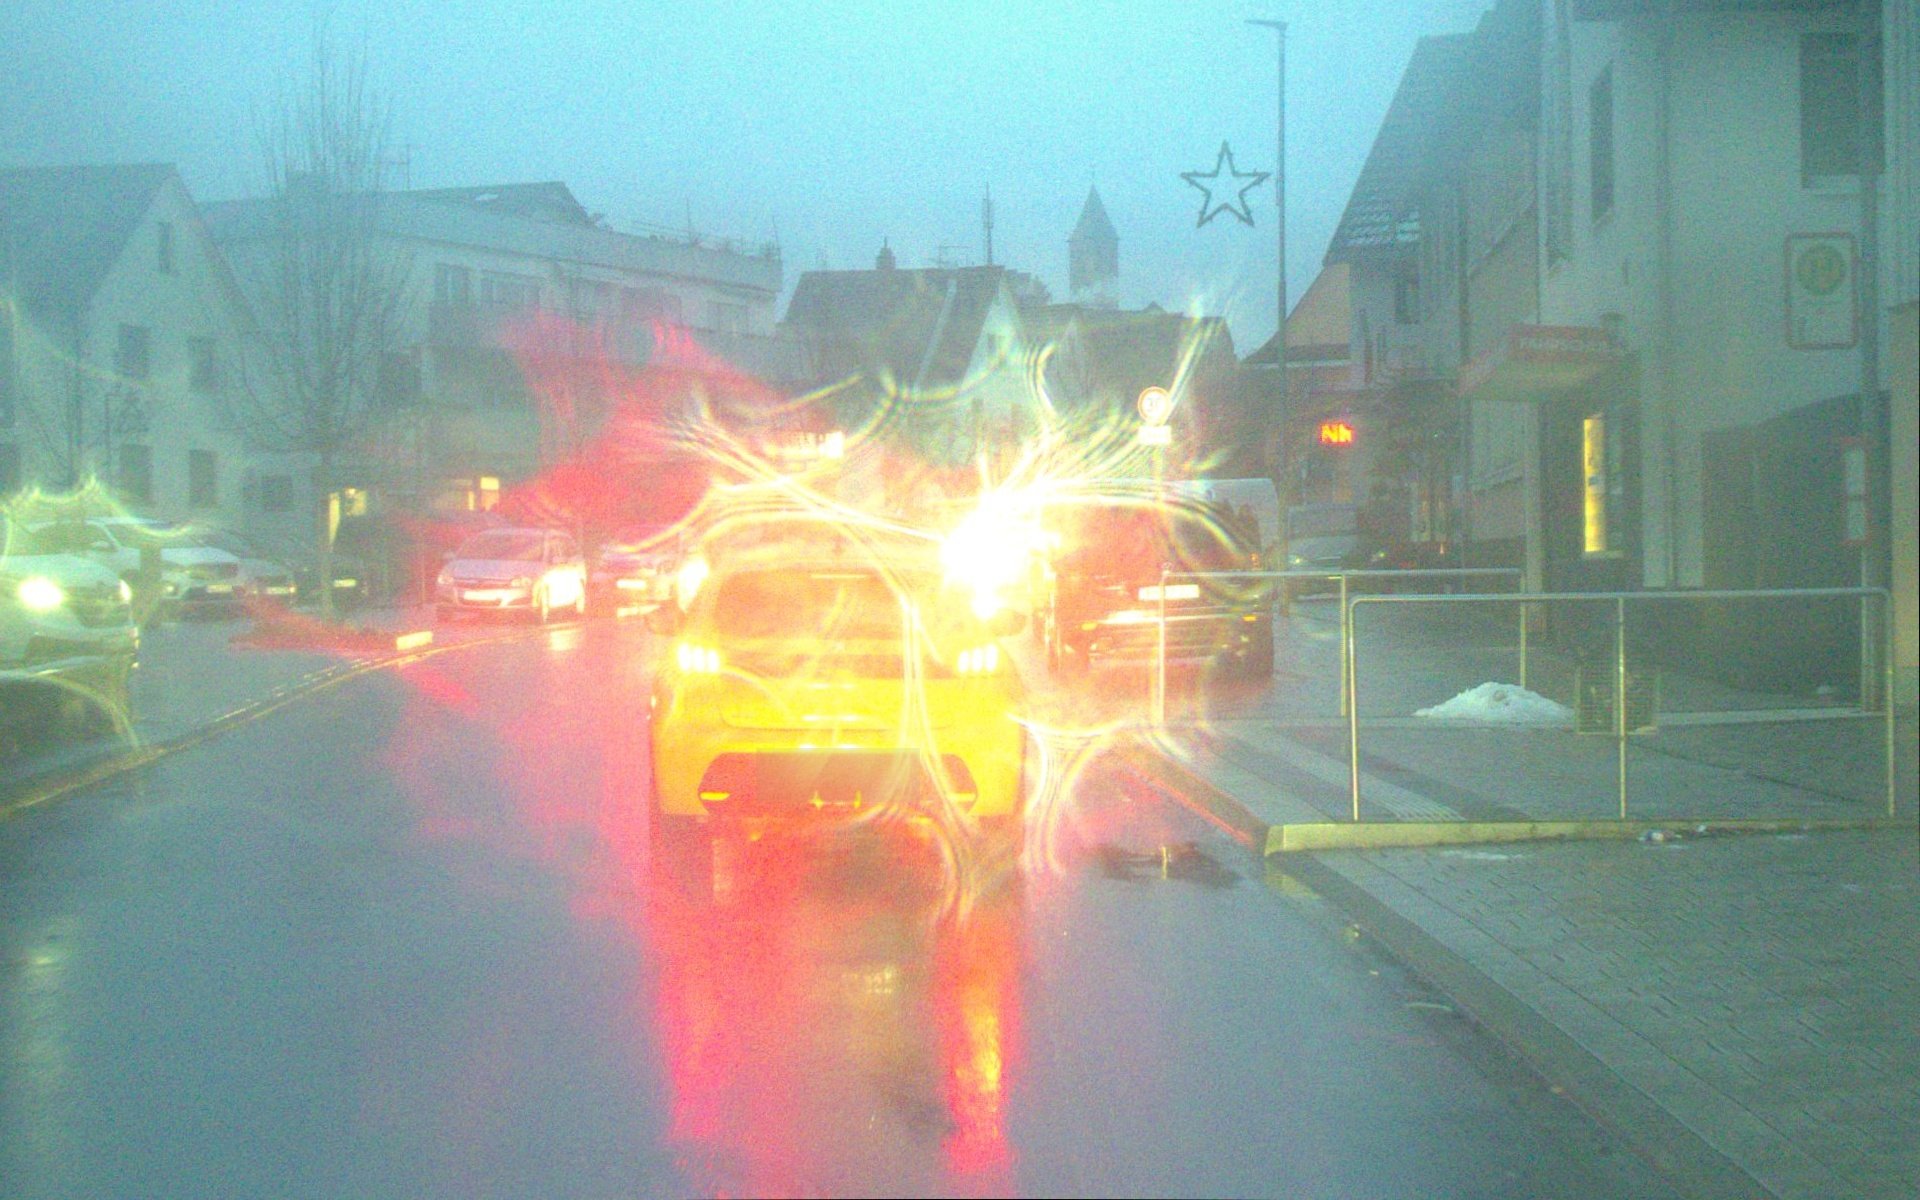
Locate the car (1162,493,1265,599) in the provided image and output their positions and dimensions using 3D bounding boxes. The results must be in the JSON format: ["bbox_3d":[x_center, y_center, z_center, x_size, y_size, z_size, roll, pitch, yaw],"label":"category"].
[{"bbox_3d":[4.928,-1.010,66.437,1.870,1.828,4.442,1,-1,5],"label":"car"}]

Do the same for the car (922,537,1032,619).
[{"bbox_3d":[0.373,-0.421,68.888,1.488,1.521,3.412,1,-1,13],"label":"car"}]

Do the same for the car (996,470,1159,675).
[{"bbox_3d":[1.462,-0.288,44.264,1.870,2.461,4.443,1,-1,0],"label":"car"}]

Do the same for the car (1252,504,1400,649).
[{"bbox_3d":[6.012,-0.348,56.855,1.993,2.241,4.000,1,-1,0],"label":"car"}]

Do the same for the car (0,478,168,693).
[{"bbox_3d":[-9.984,-0.207,30.724,5.399,1.811,1.711,2,1,12],"label":"car"}]

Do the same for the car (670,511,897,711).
[{"bbox_3d":[-1.502,0.059,30.384,1.766,1.623,3.586,1,1,0],"label":"car"}]

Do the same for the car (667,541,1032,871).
[{"bbox_3d":[-0.520,0.438,16.518,1.563,1.408,3.018,1,1,-2],"label":"car"}]

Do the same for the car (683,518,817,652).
[{"bbox_3d":[-3.482,-0.207,57.670,1.993,2.105,4.000,1,-1,0],"label":"car"}]

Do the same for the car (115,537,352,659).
[{"bbox_3d":[-12.387,-0.022,58.473,4.166,1.969,1.818,0,-2,43],"label":"car"}]

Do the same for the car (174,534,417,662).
[{"bbox_3d":[-11.873,-0.026,61.263,4.382,2.159,1.995,0,-2,43],"label":"car"}]

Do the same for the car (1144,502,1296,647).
[{"bbox_3d":[3.830,-0.331,51.229,1.870,1.992,4.443,1,-1,0],"label":"car"}]

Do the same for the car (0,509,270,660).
[{"bbox_3d":[-13.070,-0.223,54.373,4.382,2.244,1.995,0,-2,43],"label":"car"}]

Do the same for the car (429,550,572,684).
[{"bbox_3d":[-7.247,0.303,54.535,1.919,2.021,3.975,1,-1,-3],"label":"car"}]

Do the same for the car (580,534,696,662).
[{"bbox_3d":[-5.821,0.003,62.471,1.919,2.208,3.975,1,-1,-3],"label":"car"}]

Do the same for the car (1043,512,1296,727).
[{"bbox_3d":[1.872,0.157,31.909,1.997,1.858,4.083,1,0,-1],"label":"car"}]
